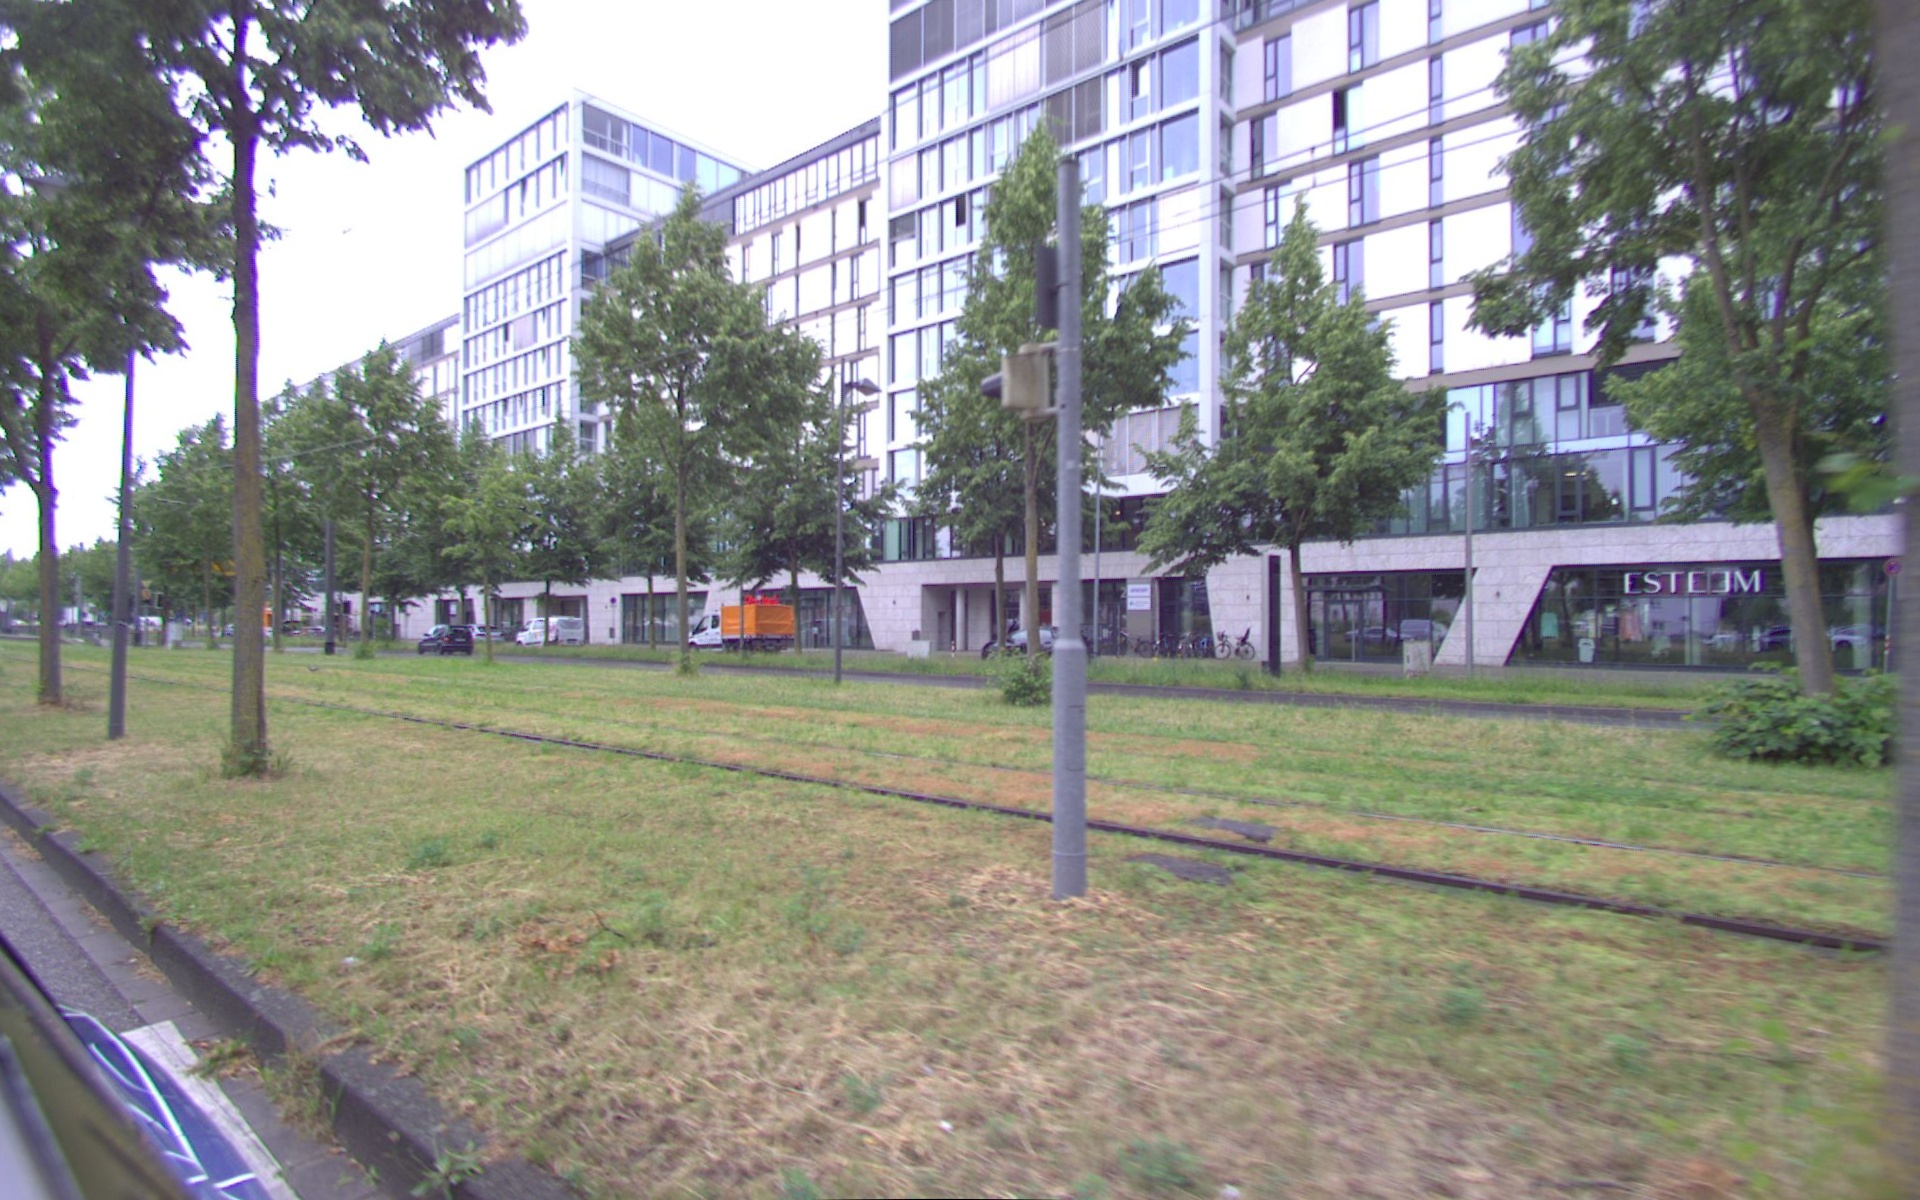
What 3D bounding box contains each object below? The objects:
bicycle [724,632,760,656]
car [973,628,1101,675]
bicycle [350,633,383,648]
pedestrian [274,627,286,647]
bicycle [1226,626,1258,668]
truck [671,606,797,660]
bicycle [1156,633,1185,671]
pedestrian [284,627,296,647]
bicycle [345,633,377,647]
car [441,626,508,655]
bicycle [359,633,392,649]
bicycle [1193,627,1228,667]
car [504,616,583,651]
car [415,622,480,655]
[{"bbox_3d":[-9.113,1.816,42.232,1.758,0.952,0.592,-2,-2,44],"label":"bicycle"},{"bbox_3d":[2.561,1.693,34.130,3.985,1.476,1.836,-1,-2,40],"label":"car"},{"bbox_3d":[-43.089,2.930,73.511,0.696,1.042,1.957,-2,-2,42],"label":"bicycle"},{"bbox_3d":[-58.514,3.141,87.098,0.793,1.704,0.703,-2,-2,43],"label":"pedestrian"},{"bbox_3d":[11.012,1.818,39.511,0.606,1.550,1.552,-1,-1,39],"label":"bicycle"},{"bbox_3d":[-10.448,1.474,46.456,6.304,2.309,2.401,-1,-2,41],"label":"truck"},{"bbox_3d":[8.615,2.098,41.351,0.546,1.494,1.418,-1,-1,39],"label":"bicycle"},{"bbox_3d":[-58.139,3.190,87.795,0.793,1.704,0.703,-2,-2,43],"label":"pedestrian"},{"bbox_3d":[-44.626,2.967,75.387,0.696,1.042,1.957,-2,-2,42],"label":"bicycle"},{"bbox_3d":[-29.996,2.471,62.458,4.460,1.725,2.123,-1,-2,40],"label":"car"},{"bbox_3d":[-41.798,2.928,72.402,0.696,1.042,1.957,-2,-2,42],"label":"bicycle"},{"bbox_3d":[9.925,1.840,40.100,0.680,1.550,1.686,-1,-1,39],"label":"bicycle"},{"bbox_3d":[-23.498,1.849,57.016,5.160,1.866,1.973,-1,-2,40],"label":"car"},{"bbox_3d":[-26.804,2.002,52.918,3.701,1.669,1.971,-2,-2,45],"label":"car"}]
